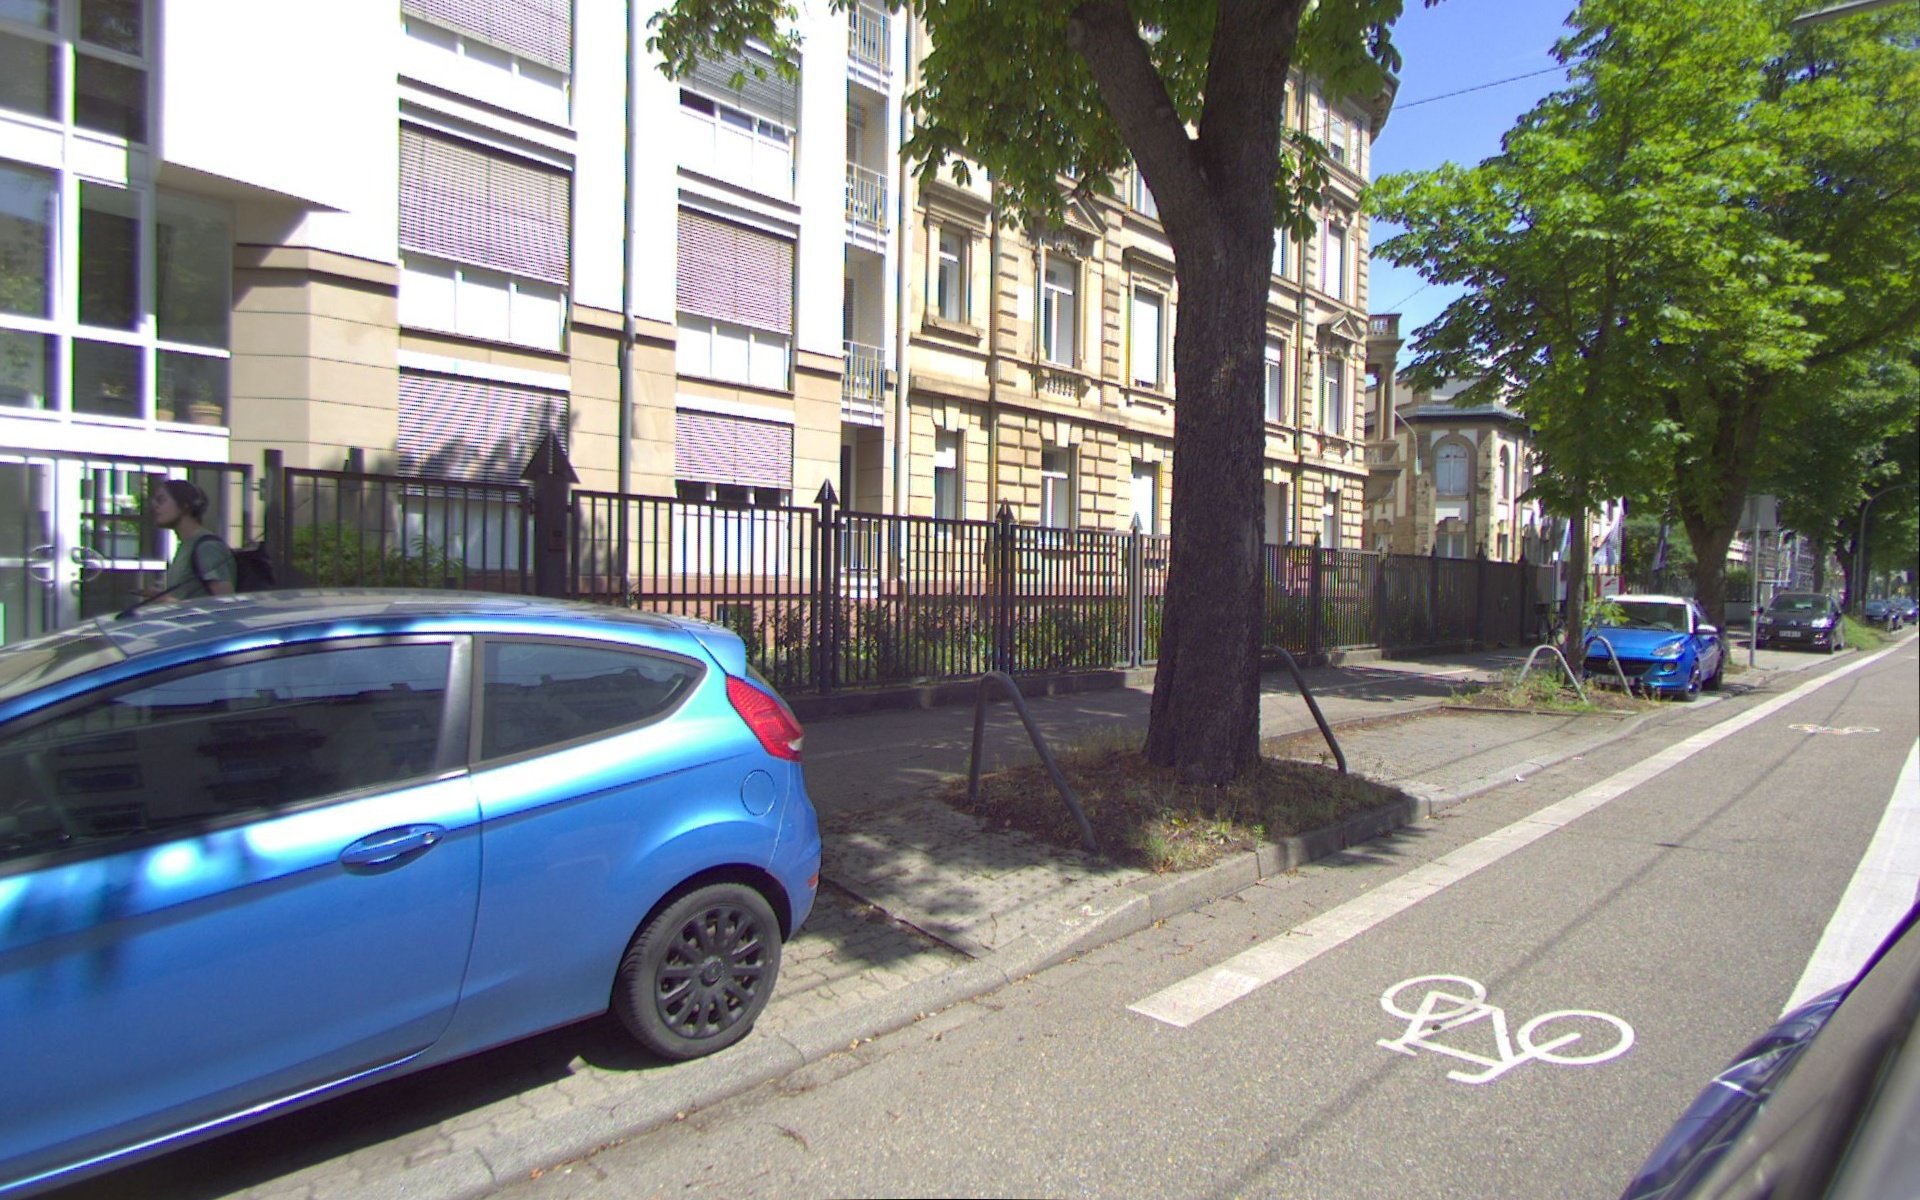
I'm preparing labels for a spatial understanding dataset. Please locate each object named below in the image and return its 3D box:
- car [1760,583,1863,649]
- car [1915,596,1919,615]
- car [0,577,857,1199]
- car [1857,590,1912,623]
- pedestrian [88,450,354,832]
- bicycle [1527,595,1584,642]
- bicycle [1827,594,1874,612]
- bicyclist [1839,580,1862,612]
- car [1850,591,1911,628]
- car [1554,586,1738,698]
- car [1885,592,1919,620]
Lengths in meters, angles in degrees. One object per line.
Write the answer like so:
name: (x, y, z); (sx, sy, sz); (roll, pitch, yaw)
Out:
car: (23.966, 0.409, 28.443); (4.016, 1.635, 1.732); (0, 3, -44)
car: (77.163, 0.468, 80.397); (3.934, 1.420, 1.624); (0, 4, -44)
car: (-2.254, 0.681, 2.915); (3.660, 1.461, 1.678); (0, 2, -45)
car: (44.077, 0.270, 48.215); (3.934, 1.420, 1.624); (0, 4, -44)
pedestrian: (-3.957, 0.185, 5.438); (1.066, 1.820, 0.685); (0, 1, -44)
bicycle: (14.470, 0.426, 24.567); (1.946, 1.084, 0.608); (0, 1, -42)
bicycle: (57.574, 0.188, 65.452); (0.795, 1.109, 2.179); (0, 1, -16)
bicyclist: (57.570, -0.279, 65.430); (0.757, 2.039, 0.810); (0, 1, -17)
car: (39.521, 0.396, 43.434); (3.760, 1.420, 1.624); (0, 4, -44)
car: (10.556, 0.555, 15.504); (3.417, 1.471, 1.692); (0, 2, -45)
car: (53.002, 0.307, 56.547); (3.934, 1.420, 1.624); (0, 4, -44)
